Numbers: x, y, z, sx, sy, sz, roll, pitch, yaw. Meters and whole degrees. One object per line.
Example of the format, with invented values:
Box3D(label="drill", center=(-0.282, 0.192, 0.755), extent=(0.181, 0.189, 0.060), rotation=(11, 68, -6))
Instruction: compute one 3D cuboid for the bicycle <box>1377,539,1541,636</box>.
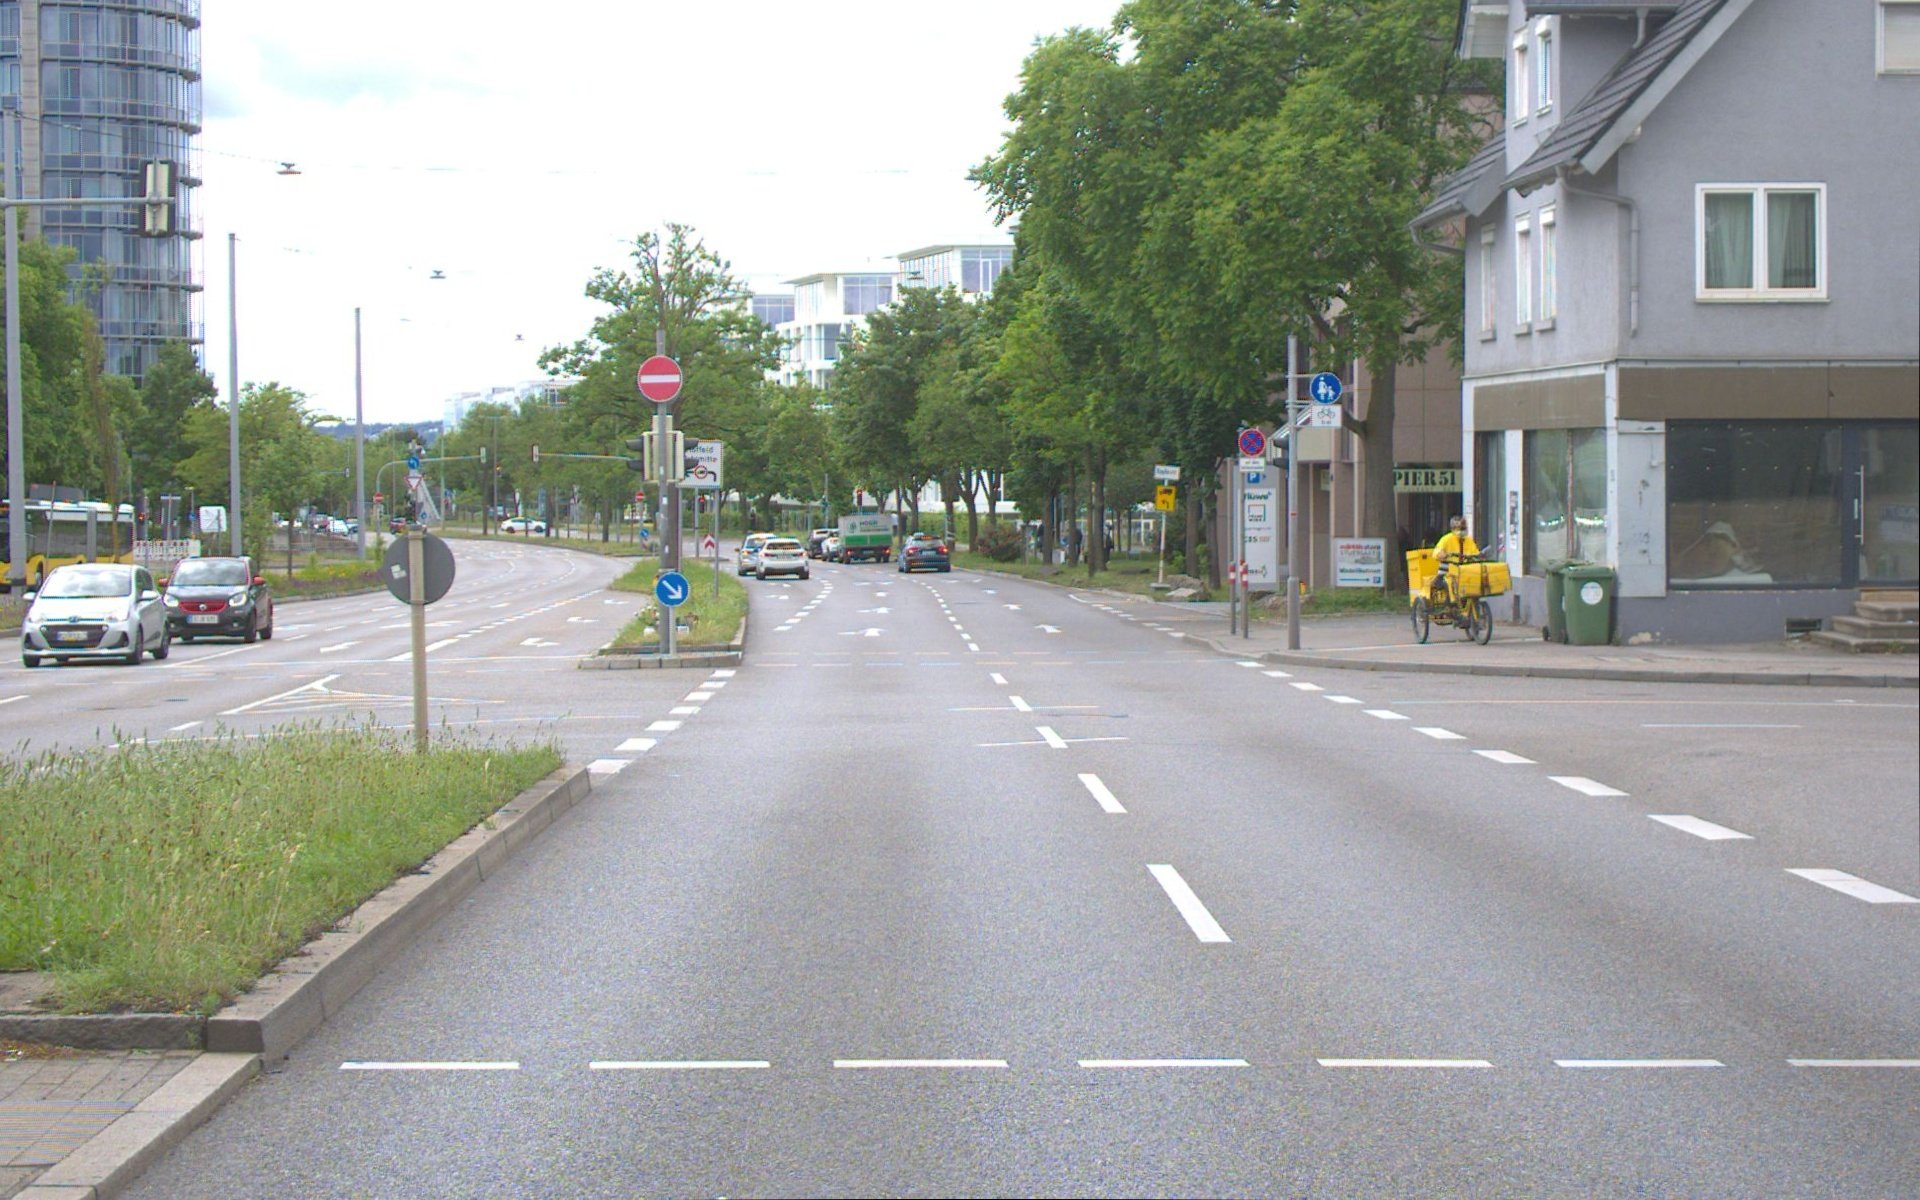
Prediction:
Box3D(label="bicycle", center=(6.495, -0.175, 44.895), extent=(1.074, 1.213, 2.440), rotation=(-1, 1, -20))

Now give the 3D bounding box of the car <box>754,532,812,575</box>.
Box3D(label="car", center=(-6.376, -1.675, 123.524), extent=(1.993, 1.472, 4.257), rotation=(-1, 1, -4))

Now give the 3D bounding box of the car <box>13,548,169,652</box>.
Box3D(label="car", center=(-12.810, -0.025, 50.856), extent=(1.684, 1.457, 3.556), rotation=(-1, 1, -5))

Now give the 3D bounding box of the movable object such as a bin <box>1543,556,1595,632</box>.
Box3D(label="movable object such as a bin", center=(7.926, -0.085, 44.772), extent=(0.529, 0.976, 0.736), rotation=(-1, 1, -1))

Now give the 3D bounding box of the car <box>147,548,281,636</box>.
Box3D(label="car", center=(-13.226, -0.162, 61.114), extent=(1.702, 1.487, 3.562), rotation=(-1, 1, -2))

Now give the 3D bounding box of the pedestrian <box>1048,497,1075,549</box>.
Box3D(label="pedestrian", center=(3.963, -3.026, 134.583), extent=(0.971, 2.007, 0.981), rotation=(1, 0, -1))

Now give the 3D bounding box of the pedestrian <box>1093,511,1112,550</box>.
Box3D(label="pedestrian", center=(5.755, -2.792, 138.802), extent=(0.650, 1.564, 0.671), rotation=(-1, 1, -8))

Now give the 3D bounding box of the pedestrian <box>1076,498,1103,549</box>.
Box3D(label="pedestrian", center=(5.066, -2.992, 134.602), extent=(0.971, 1.969, 0.981), rotation=(1, 0, -1))

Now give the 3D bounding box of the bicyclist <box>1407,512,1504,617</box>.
Box3D(label="bicyclist", center=(6.477, -0.469, 44.925), extent=(1.074, 1.352, 0.628), rotation=(-1, 1, -20))

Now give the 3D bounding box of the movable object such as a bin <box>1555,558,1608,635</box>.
Box3D(label="movable object such as a bin", center=(7.954, -0.049, 43.982), extent=(0.529, 0.976, 0.736), rotation=(-1, 1, -1))

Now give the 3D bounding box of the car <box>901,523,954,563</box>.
Box3D(label="car", center=(-1.215, -2.170, 131.656), extent=(1.889, 1.489, 4.099), rotation=(-1, 1, 1))

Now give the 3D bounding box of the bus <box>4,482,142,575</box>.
Box3D(label="bus", center=(-31.747, -2.561, 123.401), extent=(3.144, 3.214, 7.766), rotation=(-1, 1, -2))

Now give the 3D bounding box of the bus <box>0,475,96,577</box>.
Box3D(label="bus", center=(-31.408, -2.430, 114.397), extent=(3.144, 3.214, 10.286), rotation=(-1, 1, -3))

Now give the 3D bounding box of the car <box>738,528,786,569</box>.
Box3D(label="car", center=(-7.702, -2.003, 133.845), extent=(1.822, 1.535, 4.115), rotation=(-1, 1, -3))

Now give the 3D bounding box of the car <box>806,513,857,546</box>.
Box3D(label="car", center=(-6.523, -3.543, 173.795), extent=(2.250, 1.641, 4.934), rotation=(-1, 1, -5))

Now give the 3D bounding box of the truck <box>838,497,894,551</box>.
Box3D(label="truck", center=(-4.280, -3.466, 156.404), extent=(2.251, 2.408, 4.934), rotation=(0, 1, -5))
